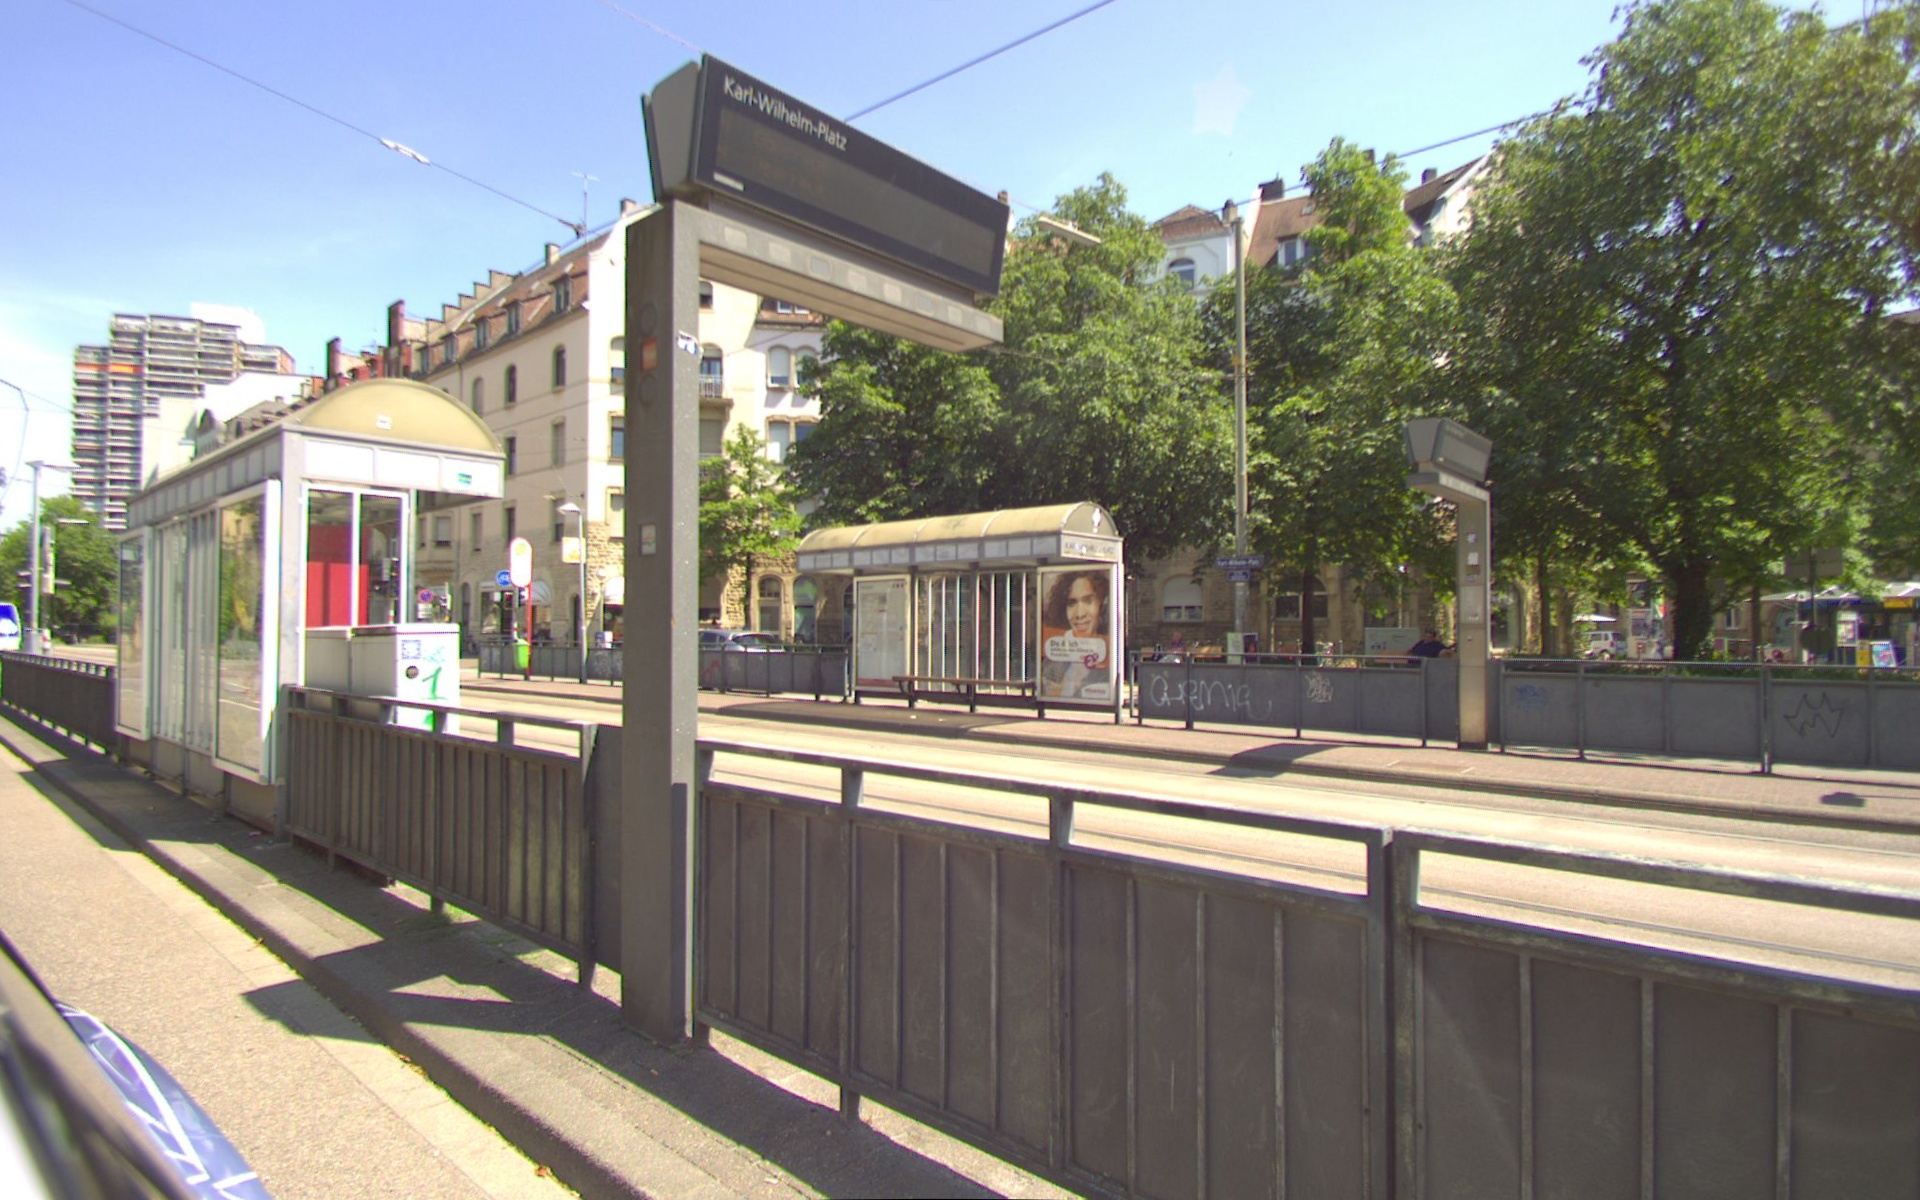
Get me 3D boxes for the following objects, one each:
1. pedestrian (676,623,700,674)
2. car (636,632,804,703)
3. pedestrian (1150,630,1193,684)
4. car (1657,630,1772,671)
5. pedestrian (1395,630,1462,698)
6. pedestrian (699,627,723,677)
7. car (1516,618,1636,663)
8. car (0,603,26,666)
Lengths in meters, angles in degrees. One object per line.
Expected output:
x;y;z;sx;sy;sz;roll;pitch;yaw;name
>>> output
-8.884;1.577;33.093;0.473;1.659;0.586;-2;-3;41;pedestrian
-5.599;1.493;23.363;3.998;1.404;1.789;-1;0;41;car
5.092;1.360;24.317;0.930;1.253;0.860;-1;0;17;pedestrian
35.786;2.356;48.104;1.736;1.721;3.998;-1;0;-33;car
9.281;1.243;20.042;0.852;1.253;0.939;-1;0;-43;pedestrian
-7.985;1.663;32.496;0.473;1.563;0.586;-2;-3;39;pedestrian
26.717;1.710;44.012;1.966;1.803;4.011;-1;0;-33;car
-44.041;1.518;44.405;5.788;2.693;2.257;-1;0;22;car
